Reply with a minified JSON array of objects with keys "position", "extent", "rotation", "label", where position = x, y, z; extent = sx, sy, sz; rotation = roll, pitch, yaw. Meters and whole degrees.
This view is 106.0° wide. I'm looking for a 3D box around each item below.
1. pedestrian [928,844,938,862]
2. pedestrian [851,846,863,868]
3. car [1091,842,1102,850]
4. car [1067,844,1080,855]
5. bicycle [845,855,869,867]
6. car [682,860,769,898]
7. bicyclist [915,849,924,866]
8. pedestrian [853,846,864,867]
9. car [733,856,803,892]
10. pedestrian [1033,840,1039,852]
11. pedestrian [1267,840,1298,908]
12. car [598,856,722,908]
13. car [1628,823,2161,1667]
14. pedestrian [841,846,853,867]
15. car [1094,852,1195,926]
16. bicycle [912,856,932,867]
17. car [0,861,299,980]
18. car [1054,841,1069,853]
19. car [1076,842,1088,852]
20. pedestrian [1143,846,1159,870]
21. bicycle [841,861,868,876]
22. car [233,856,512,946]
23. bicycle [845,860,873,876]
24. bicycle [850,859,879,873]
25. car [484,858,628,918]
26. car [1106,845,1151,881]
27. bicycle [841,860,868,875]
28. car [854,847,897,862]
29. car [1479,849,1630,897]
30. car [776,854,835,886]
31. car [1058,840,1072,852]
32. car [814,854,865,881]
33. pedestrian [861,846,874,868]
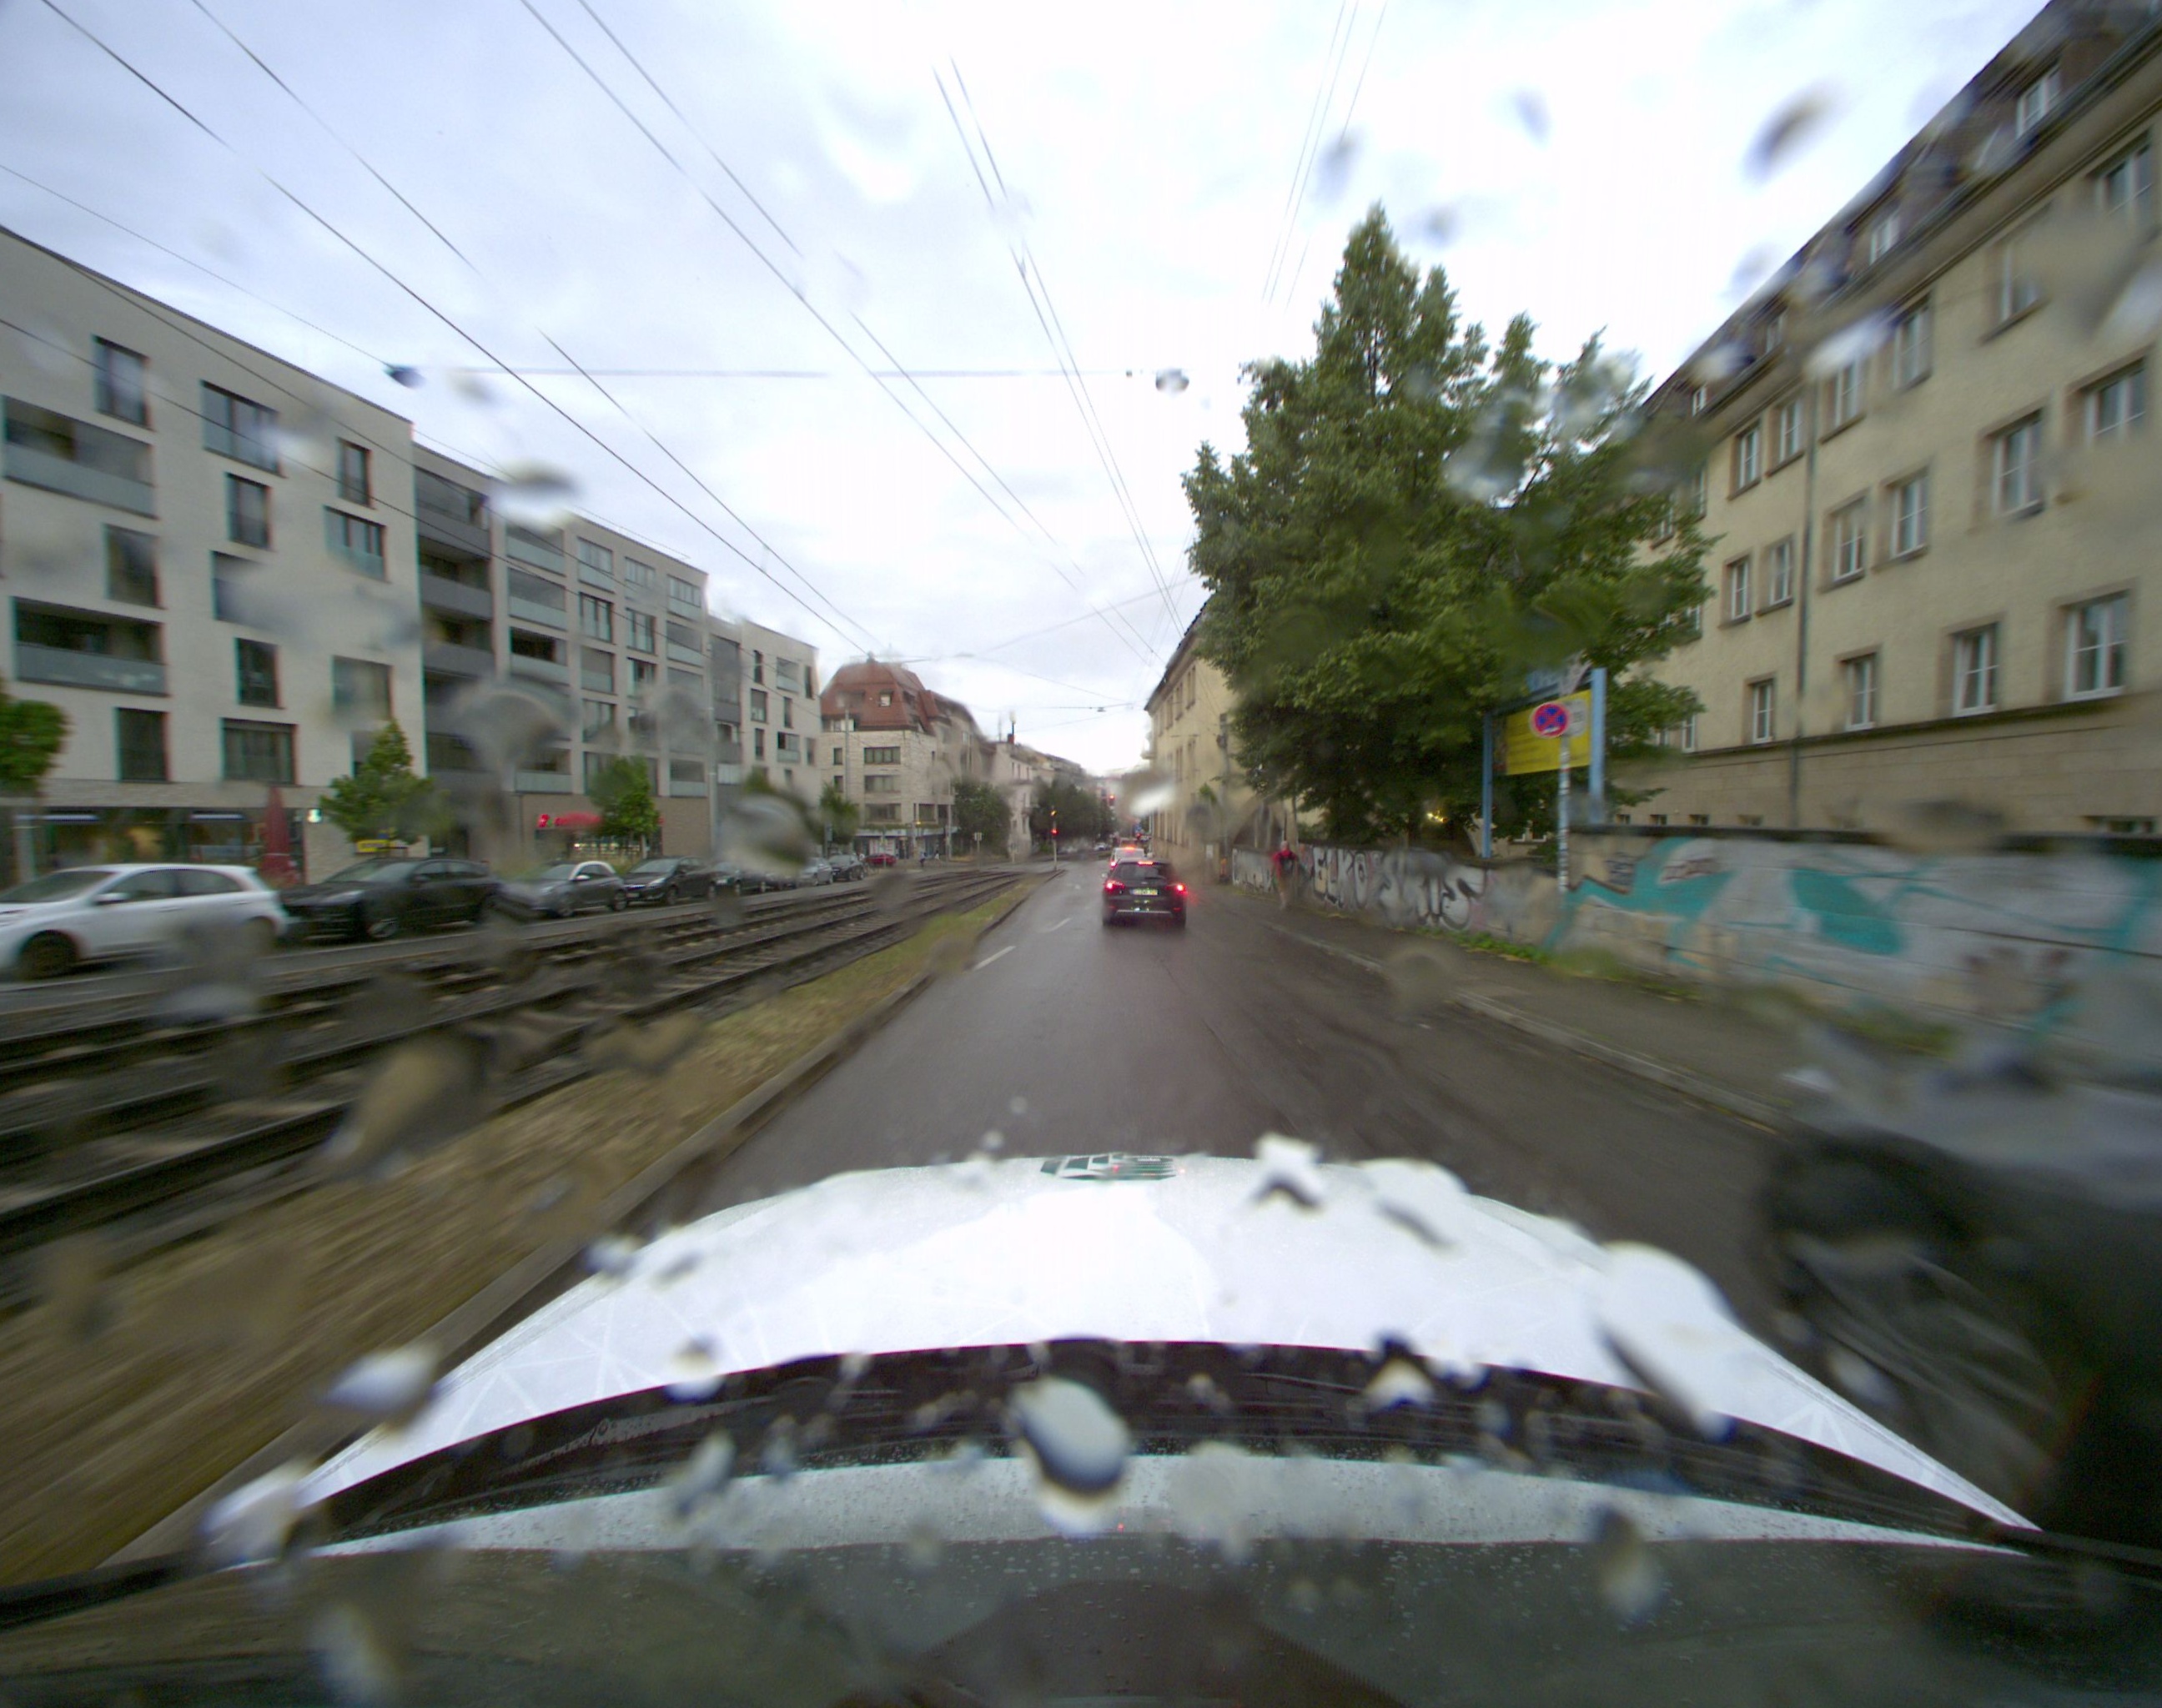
[{"position":[-16.407,-0.108,90.283],"extent":[0.903,1.931,0.824],"rotation":[0,0,-3],"label":"pedestrian"},{"position":[-21.099,0.255,76.609],"extent":[0.939,2.013,0.764],"rotation":[0,0,-4],"label":"pedestrian"},{"position":[3.273,-1.666,173.802],"extent":[1.984,1.662,4.006],"rotation":[0,0,5],"label":"car"},{"position":[-1.362,-0.838,149.960],"extent":[1.984,2.013,4.006],"rotation":[0,0,5],"label":"car"},{"position":[-16.311,0.483,59.397],"extent":[1.649,0.866,0.567],"rotation":[1,0,-10],"label":"bicycle"},{"position":[-13.759,0.920,31.758],"extent":[1.543,1.362,4.011],"rotation":[0,0,1],"label":"car"},{"position":[-15.042,0.330,76.035],"extent":[0.705,1.574,0.457],"rotation":[0,0,-38],"label":"bicyclist"},{"position":[-21.427,0.221,78.411],"extent":[0.939,2.013,0.764],"rotation":[0,0,-4],"label":"pedestrian"},{"position":[-14.037,0.842,36.713],"extent":[1.768,1.504,3.917],"rotation":[-1,0,-3],"label":"car"},{"position":[-7.418,-1.263,135.003],"extent":[0.941,2.013,0.762],"rotation":[0,0,-9],"label":"pedestrian"},{"position":[5.230,0.513,21.134],"extent":[0.630,1.721,0.711],"rotation":[-1,0,1],"label":"pedestrian"},{"position":[-13.668,0.857,26.762],"extent":[1.713,1.513,4.319],"rotation":[-1,0,1],"label":"car"},{"position":[2.754,0.691,0.840],"extent":[1.659,1.524,4.110],"rotation":[-2,0,1],"label":"car"},{"position":[-22.199,0.248,77.342],"extent":[0.939,2.013,0.764],"rotation":[0,0,-4],"label":"pedestrian"},{"position":[1.319,0.728,18.589],"extent":[1.914,1.479,3.998],"rotation":[1,0,-1],"label":"car"},{"position":[-14.874,0.695,76.168],"extent":[1.811,1.064,0.452],"rotation":[0,0,-38],"label":"bicycle"},{"position":[-14.505,0.878,12.174],"extent":[1.756,1.479,3.742],"rotation":[-1,0,8],"label":"car"},{"position":[-3.296,-1.169,137.364],"extent":[1.984,2.013,4.006],"rotation":[0,0,5],"label":"car"},{"position":[0.201,-1.334,160.841],"extent":[1.984,2.013,4.006],"rotation":[0,0,5],"label":"car"},{"position":[5.268,0.309,61.274],"extent":[1.042,1.795,0.901],"rotation":[0,0,-2],"label":"pedestrian"},{"position":[-15.735,0.999,56.634],"extent":[1.799,1.064,0.455],"rotation":[1,0,-15],"label":"bicycle"},{"position":[-14.059,0.837,16.592],"extent":[1.759,1.561,4.406],"rotation":[-1,0,1],"label":"car"},{"position":[-14.885,0.936,54.709],"extent":[1.799,1.064,0.455],"rotation":[1,0,-15],"label":"bicycle"},{"position":[-16.056,0.911,60.465],"extent":[1.948,1.028,0.719],"rotation":[1,0,-9],"label":"bicycle"},{"position":[-13.933,0.854,21.856],"extent":[1.543,1.435,3.452],"rotation":[-1,0,1],"label":"car"},{"position":[2.528,0.414,42.537],"extent":[2.126,1.745,4.225],"rotation":[-1,1,6],"label":"car"},{"position":[-16.006,0.953,57.471],"extent":[1.802,1.108,0.452],"rotation":[1,0,-20],"label":"bicycle"},{"position":[-21.843,0.077,86.637],"extent":[4.109,1.568,1.828],"rotation":[0,0,9],"label":"car"},{"position":[17.165,0.678,29.721],"extent":[4.424,1.588,1.800],"rotation":[-1,2,8],"label":"car"},{"position":[-13.955,0.788,41.533],"extent":[1.768,1.504,4.079],"rotation":[-1,0,-3],"label":"car"},{"position":[-2.817,-1.410,143.659],"extent":[1.984,2.013,4.006],"rotation":[0,0,5],"label":"car"},{"position":[-14.266,0.786,48.340],"extent":[1.907,1.504,4.232],"rotation":[-1,0,-3],"label":"car"},{"position":[-20.097,0.260,76.659],"extent":[0.938,2.013,0.765],"rotation":[0,0,0],"label":"pedestrian"}]
